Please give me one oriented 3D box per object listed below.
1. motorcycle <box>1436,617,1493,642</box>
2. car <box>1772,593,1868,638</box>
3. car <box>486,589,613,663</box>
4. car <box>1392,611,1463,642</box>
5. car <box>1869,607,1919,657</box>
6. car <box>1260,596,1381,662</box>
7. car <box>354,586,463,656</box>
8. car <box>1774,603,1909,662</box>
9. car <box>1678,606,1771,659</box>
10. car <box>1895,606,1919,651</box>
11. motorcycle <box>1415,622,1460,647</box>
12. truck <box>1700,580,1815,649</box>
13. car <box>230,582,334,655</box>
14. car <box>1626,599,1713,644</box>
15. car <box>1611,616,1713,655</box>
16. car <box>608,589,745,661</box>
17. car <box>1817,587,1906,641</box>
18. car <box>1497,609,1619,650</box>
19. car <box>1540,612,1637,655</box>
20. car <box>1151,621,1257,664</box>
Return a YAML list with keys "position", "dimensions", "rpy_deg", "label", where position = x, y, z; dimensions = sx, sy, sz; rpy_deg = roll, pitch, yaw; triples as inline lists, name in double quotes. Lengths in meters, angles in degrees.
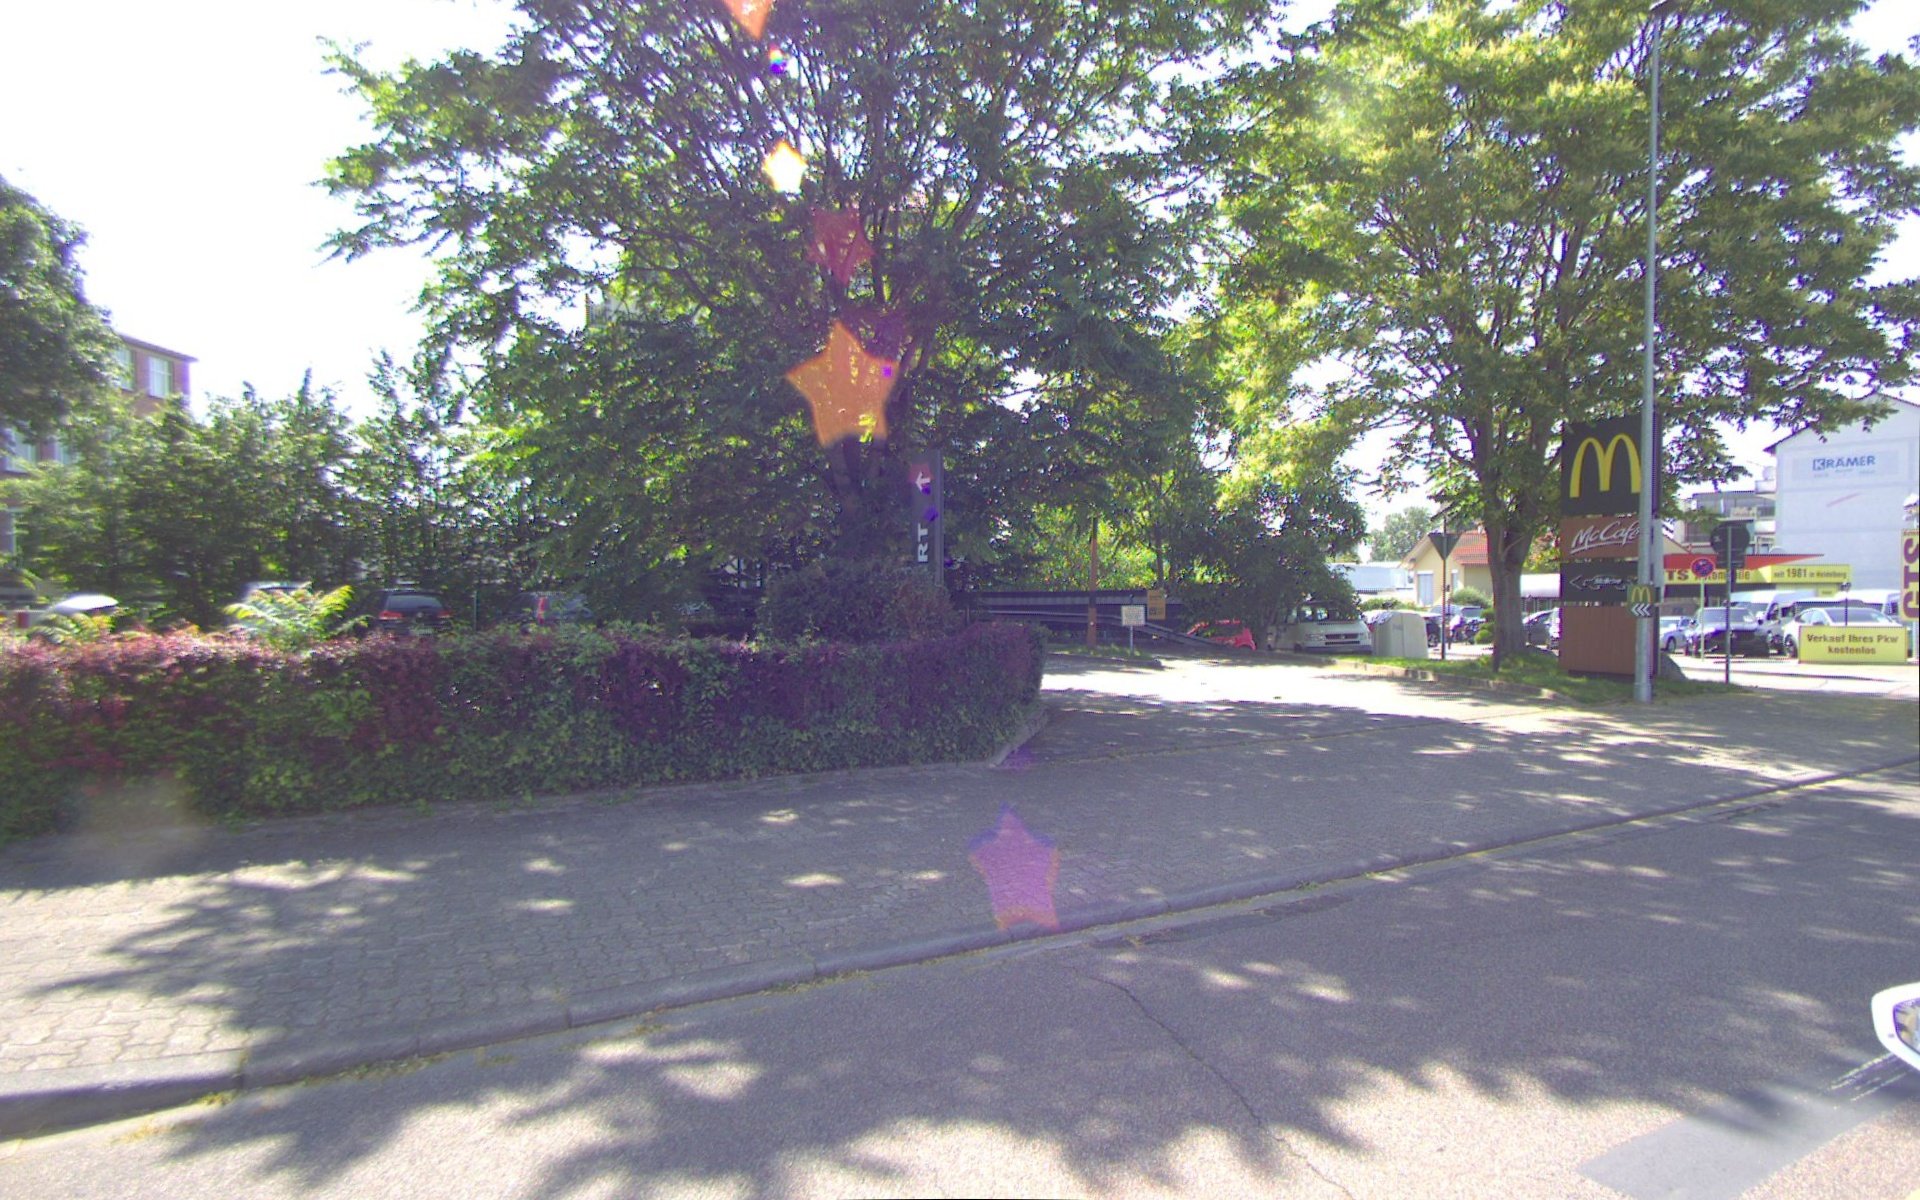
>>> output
- position: [26.552, 1.548, 52.904]
  dimensions: [2.672, 1.243, 0.996]
  rpy_deg: [1, 0, -14]
  label: "motorcycle"
- position: [35.765, 0.638, 41.757]
  dimensions: [4.674, 1.761, 1.865]
  rpy_deg: [1, 1, -35]
  label: "car"
- position: [-9.711, 0.540, 23.614]
  dimensions: [1.690, 1.473, 3.953]
  rpy_deg: [-1, 3, -40]
  label: "car"
- position: [26.385, 1.469, 56.825]
  dimensions: [1.962, 1.606, 3.997]
  rpy_deg: [1, 0, -4]
  label: "car"
- position: [32.965, 1.074, 34.923]
  dimensions: [1.834, 1.651, 3.981]
  rpy_deg: [1, 0, 40]
  label: "car"
- position: [9.937, 0.722, 28.098]
  dimensions: [1.918, 1.604, 5.033]
  rpy_deg: [1, 1, 5]
  label: "car"
- position: [-13.625, 0.445, 24.717]
  dimensions: [1.758, 1.490, 3.956]
  rpy_deg: [-1, 3, -38]
  label: "car"
- position: [28.655, 1.012, 32.825]
  dimensions: [1.961, 1.748, 4.000]
  rpy_deg: [2, 0, 20]
  label: "car"
- position: [25.680, 1.043, 33.875]
  dimensions: [2.017, 1.616, 4.413]
  rpy_deg: [2, 0, 32]
  label: "car"
- position: [37.156, 1.084, 38.374]
  dimensions: [1.834, 1.651, 3.981]
  rpy_deg: [1, 0, 40]
  label: "car"
- position: [23.992, 1.731, 50.499]
  dimensions: [1.837, 1.174, 0.790]
  rpy_deg: [1, 0, 6]
  label: "motorcycle"
- position: [36.247, 0.649, 45.590]
  dimensions: [5.878, 2.943, 2.256]
  rpy_deg: [1, 1, -33]
  label: "truck"
- position: [-16.580, 0.380, 24.496]
  dimensions: [1.759, 1.593, 3.954]
  rpy_deg: [-1, 2, -39]
  label: "car"
- position: [33.910, 1.019, 47.980]
  dimensions: [4.451, 2.040, 1.980]
  rpy_deg: [1, 0, -35]
  label: "car"
- position: [28.748, 1.454, 41.106]
  dimensions: [3.949, 1.507, 1.781]
  rpy_deg: [1, 0, -27]
  label: "car"
- position: [-6.898, 0.527, 24.217]
  dimensions: [1.649, 1.490, 3.855]
  rpy_deg: [-1, 3, -42]
  label: "car"
- position: [40.638, 0.595, 45.230]
  dimensions: [4.667, 2.315, 2.120]
  rpy_deg: [1, 0, -37]
  label: "car"
- position: [26.314, 1.276, 44.362]
  dimensions: [4.248, 1.606, 2.000]
  rpy_deg: [1, 0, 17]
  label: "car"
- position: [23.810, 1.253, 38.018]
  dimensions: [3.962, 1.530, 1.775]
  rpy_deg: [1, 0, -37]
  label: "car"
- position: [8.591, 1.496, 35.555]
  dimensions: [3.350, 1.397, 1.485]
  rpy_deg: [0, 2, -5]
  label: "car"
